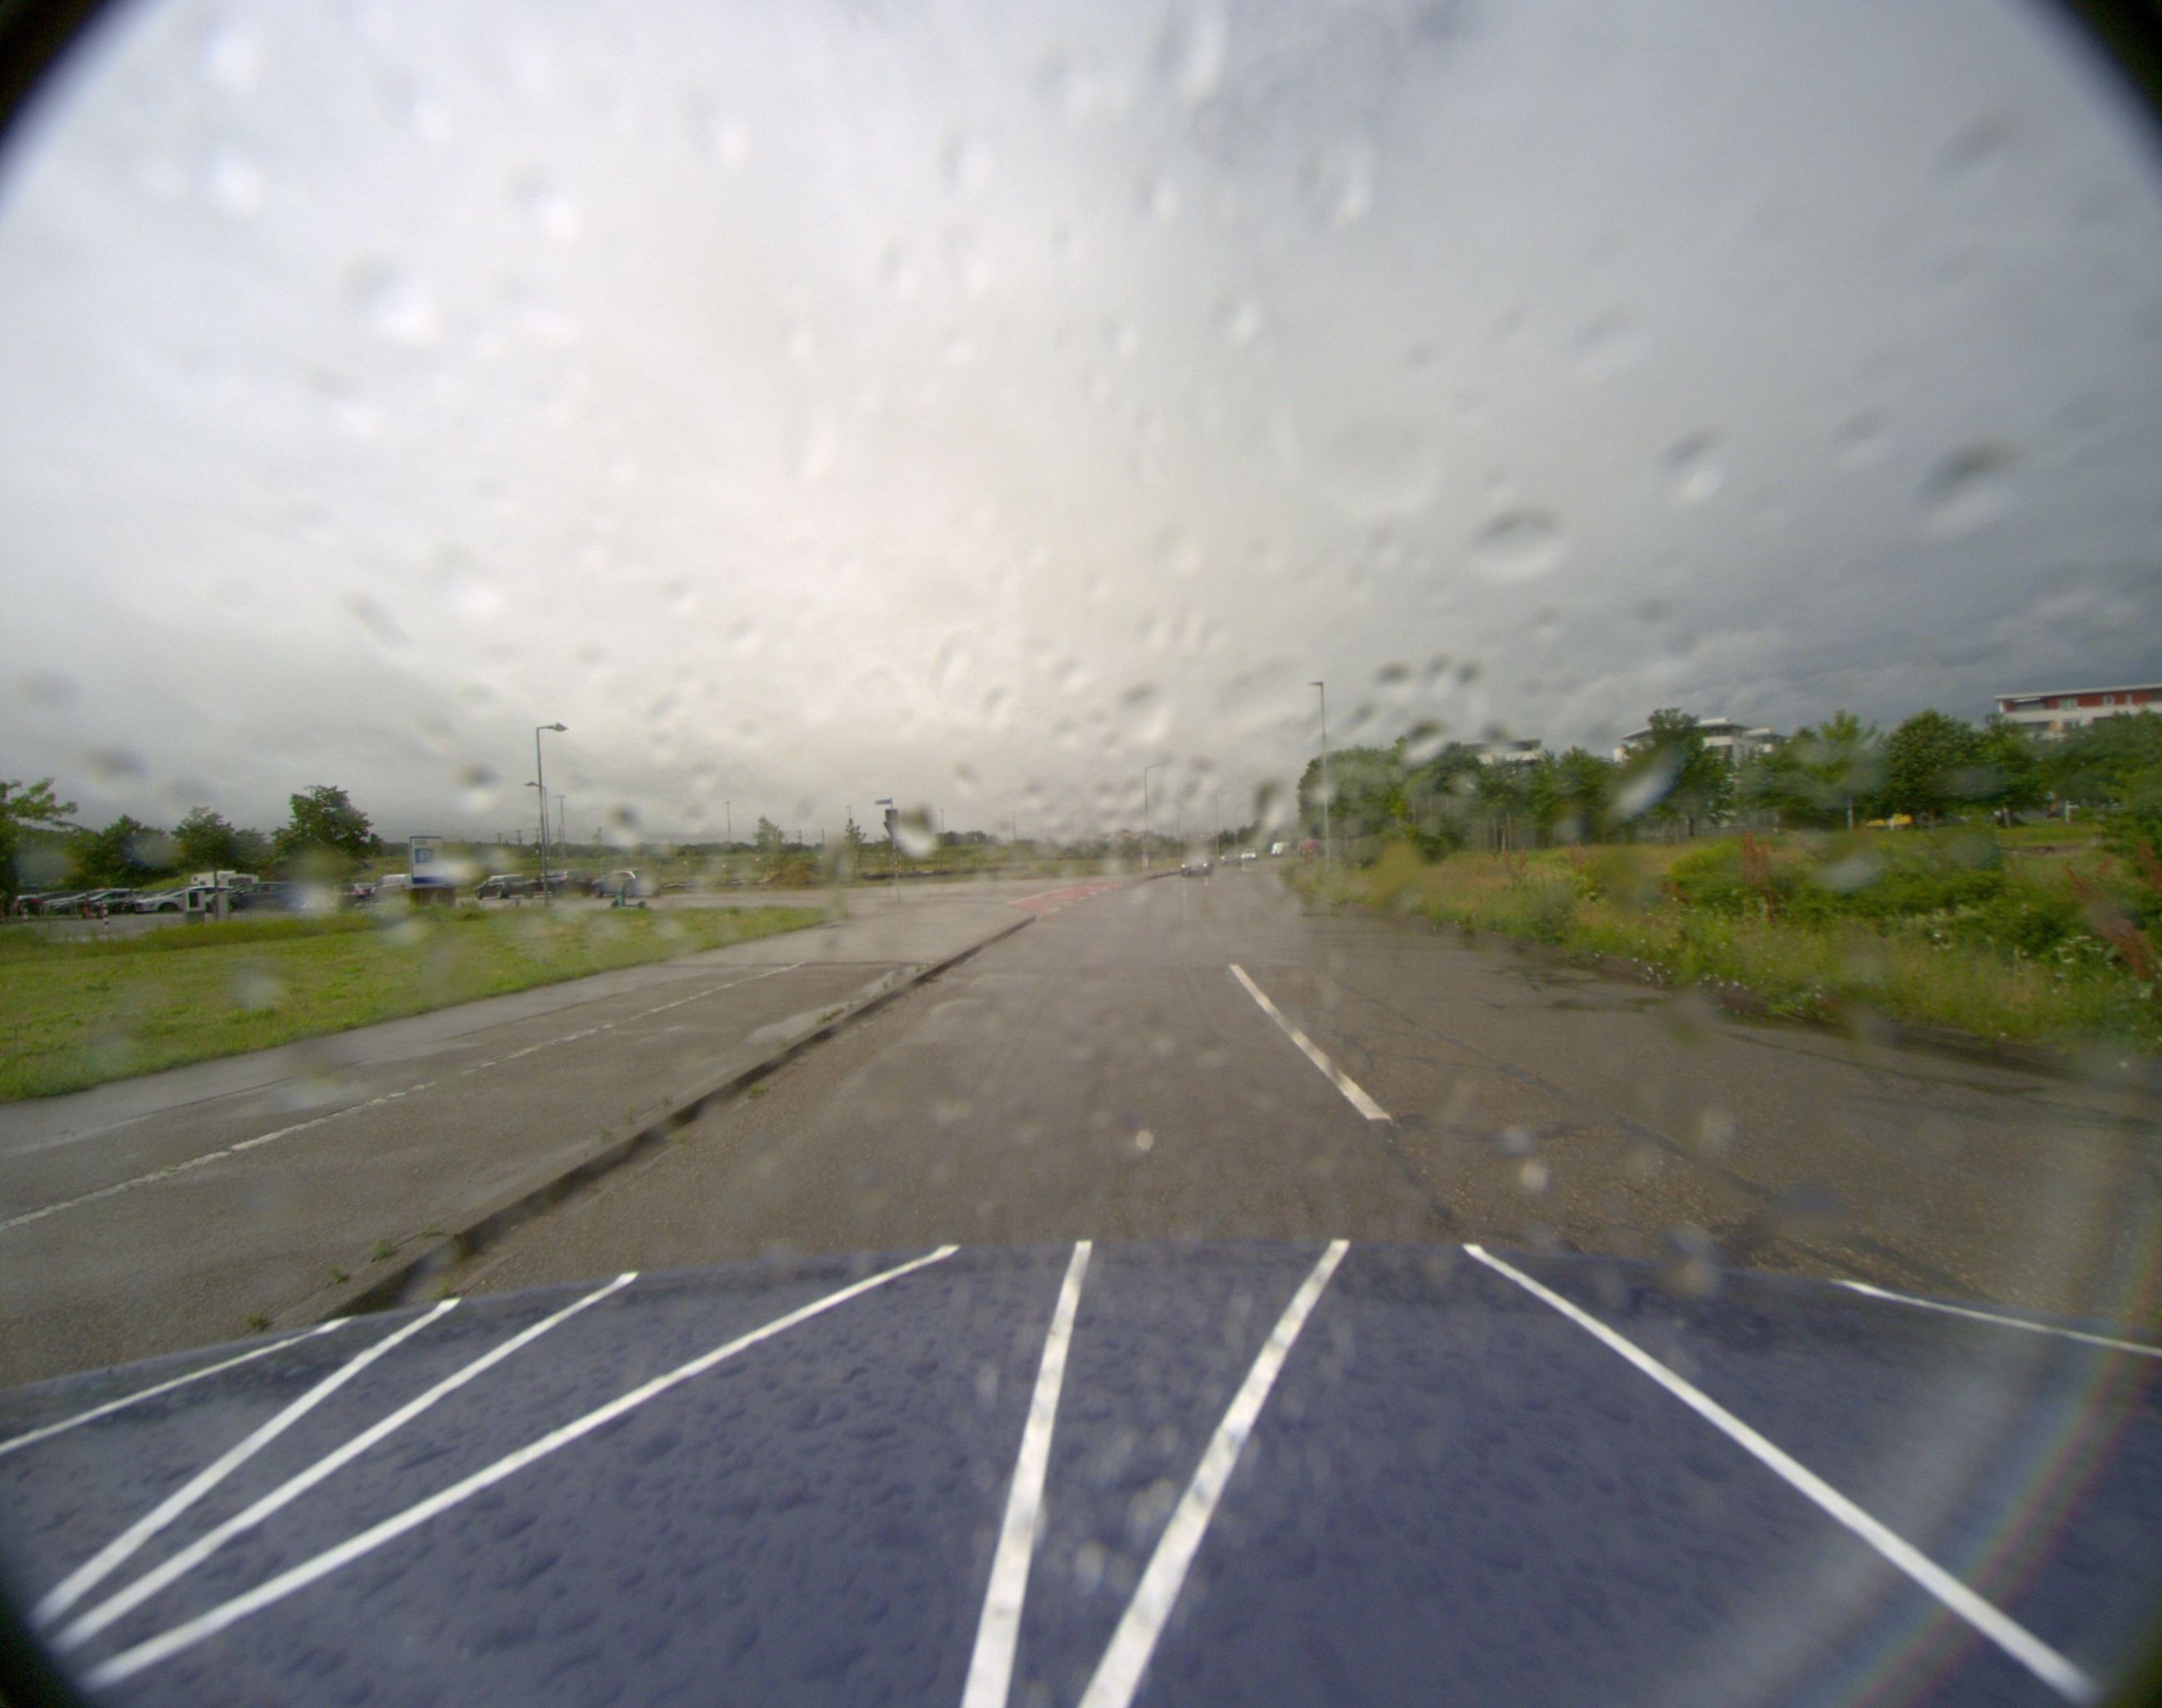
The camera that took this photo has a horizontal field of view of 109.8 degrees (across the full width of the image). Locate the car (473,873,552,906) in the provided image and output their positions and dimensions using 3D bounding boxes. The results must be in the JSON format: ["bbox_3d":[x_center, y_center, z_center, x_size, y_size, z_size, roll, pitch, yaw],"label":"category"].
[{"bbox_3d":[-34.749,2.160,46.482,3.992,1.631,2.003,-6,-1,22],"label":"car"}]

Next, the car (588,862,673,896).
[{"bbox_3d":[-25.288,1.394,42.660,3.991,1.609,2.002,-2,3,22],"label":"car"}]

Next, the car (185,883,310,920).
[{"bbox_3d":[-42.199,2.379,38.562,1.782,1.518,3.848,-6,-1,25],"label":"car"}]

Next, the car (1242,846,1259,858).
[{"bbox_3d":[22.024,-0.262,98.472,1.839,1.510,4.362,-2,0,16],"label":"car"}]

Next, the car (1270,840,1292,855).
[{"bbox_3d":[35.154,-1.229,133.434,2.093,2.459,5.958,-1,1,31],"label":"car"}]

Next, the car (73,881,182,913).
[{"bbox_3d":[-58.996,2.656,47.095,1.782,1.605,3.848,-6,-1,25],"label":"car"}]

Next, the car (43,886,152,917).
[{"bbox_3d":[-62.185,2.967,48.106,1.782,1.605,3.848,-6,-1,25],"label":"car"}]

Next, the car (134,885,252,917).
[{"bbox_3d":[-48.840,2.541,41.878,1.765,1.387,3.814,-6,-1,25],"label":"car"}]

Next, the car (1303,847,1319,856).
[{"bbox_3d":[41.520,-0.428,137.057,1.838,1.510,4.365,-2,0,29],"label":"car"}]

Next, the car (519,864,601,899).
[{"bbox_3d":[-30.787,1.615,44.878,3.992,1.717,2.003,-6,-1,22],"label":"car"}]

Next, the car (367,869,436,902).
[{"bbox_3d":[-46.754,2.166,52.296,4.329,1.761,2.003,-8,-2,26],"label":"car"}]

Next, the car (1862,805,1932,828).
[{"bbox_3d":[117.050,-5.377,109.082,6.628,2.598,1.969,-4,0,19],"label":"car"}]

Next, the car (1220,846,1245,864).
[{"bbox_3d":[15.280,0.116,76.550,2.008,1.695,4.334,-2,0,17],"label":"car"}]

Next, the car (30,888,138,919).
[{"bbox_3d":[-64.347,3.186,49.108,1.782,1.605,3.848,-6,-1,25],"label":"car"}]

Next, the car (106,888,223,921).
[{"bbox_3d":[-51.071,2.789,42.433,1.640,1.388,3.787,-4,0,25],"label":"car"}]

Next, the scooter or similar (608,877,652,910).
[{"bbox_3d":[-16.633,1.437,28.046,1.284,1.180,0.503,-1,-1,-4],"label":"scooter or similar"}]

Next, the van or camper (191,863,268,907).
[{"bbox_3d":[-74.035,2.724,66.044,6.786,3.182,2.534,-6,-1,26],"label":"van or camper"}]

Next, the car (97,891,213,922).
[{"bbox_3d":[-53.241,3.008,43.779,1.782,1.387,3.848,-6,-1,25],"label":"car"}]

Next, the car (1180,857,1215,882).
[{"bbox_3d":[7.844,0.997,51.023,1.872,1.510,4.361,-1,1,14],"label":"car"}]
